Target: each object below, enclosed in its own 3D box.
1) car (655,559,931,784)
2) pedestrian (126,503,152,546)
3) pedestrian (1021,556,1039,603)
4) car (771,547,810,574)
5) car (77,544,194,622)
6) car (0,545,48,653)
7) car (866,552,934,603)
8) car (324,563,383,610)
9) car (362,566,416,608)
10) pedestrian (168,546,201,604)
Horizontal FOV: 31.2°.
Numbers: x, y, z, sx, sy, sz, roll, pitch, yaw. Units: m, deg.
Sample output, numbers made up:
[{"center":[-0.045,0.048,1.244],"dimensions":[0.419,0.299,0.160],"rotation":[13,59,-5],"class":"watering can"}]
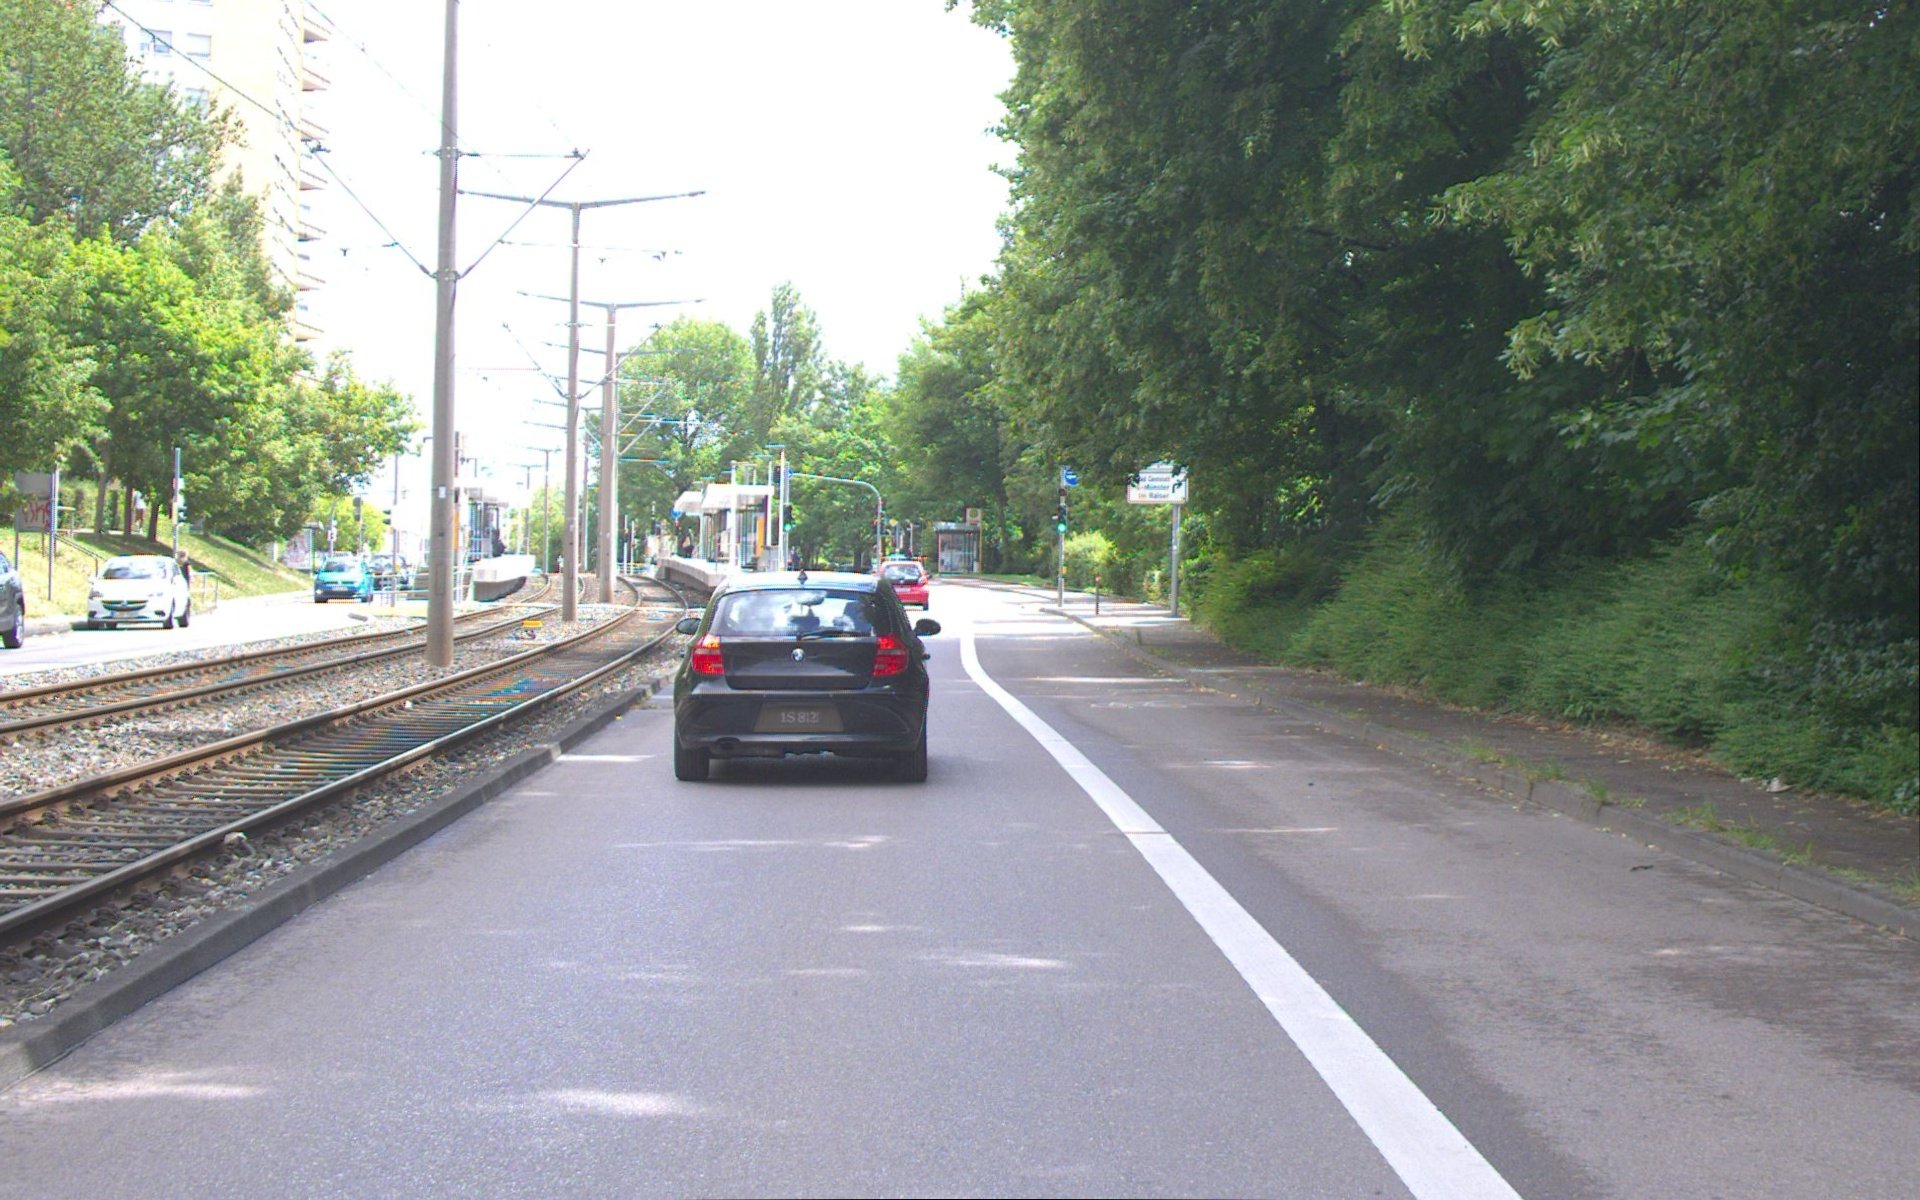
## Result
[{"center":[-1.178,0.443,24.346],"dimensions":[1.781,1.454,3.921],"rotation":[0,1,-3],"class":"car"},{"center":[-28.888,-2.652,120.973],"dimensions":[0.634,1.529,0.634],"rotation":[0,1,17],"class":"pedestrian"},{"center":[3.034,-0.888,148.611],"dimensions":[0.740,2.007,0.681],"rotation":[1,0,0],"class":"pedestrian"},{"center":[-9.445,-2.179,191.005],"dimensions":[1.909,1.454,4.003],"rotation":[1,1,-6],"class":"car"},{"center":[-16.713,-0.354,69.880],"dimensions":[1.781,1.527,4.245],"rotation":[0,1,-6],"class":"car"},{"center":[-15.350,-0.010,52.718],"dimensions":[1.774,1.624,4.383],"rotation":[0,0,-3],"class":"car"},{"center":[-1.793,-0.677,101.653],"dimensions":[1.781,1.454,3.922],"rotation":[1,1,-4],"class":"car"},{"center":[-19.259,-0.451,109.105],"dimensions":[1.715,1.437,3.944],"rotation":[0,1,-12],"class":"car"},{"center":[-21.776,-0.507,131.138],"dimensions":[1.715,1.559,3.698],"rotation":[1,1,-5],"class":"car"},{"center":[-20.347,-0.655,90.166],"dimensions":[0.767,1.529,0.717],"rotation":[0,1,-20],"class":"pedestrian"}]
